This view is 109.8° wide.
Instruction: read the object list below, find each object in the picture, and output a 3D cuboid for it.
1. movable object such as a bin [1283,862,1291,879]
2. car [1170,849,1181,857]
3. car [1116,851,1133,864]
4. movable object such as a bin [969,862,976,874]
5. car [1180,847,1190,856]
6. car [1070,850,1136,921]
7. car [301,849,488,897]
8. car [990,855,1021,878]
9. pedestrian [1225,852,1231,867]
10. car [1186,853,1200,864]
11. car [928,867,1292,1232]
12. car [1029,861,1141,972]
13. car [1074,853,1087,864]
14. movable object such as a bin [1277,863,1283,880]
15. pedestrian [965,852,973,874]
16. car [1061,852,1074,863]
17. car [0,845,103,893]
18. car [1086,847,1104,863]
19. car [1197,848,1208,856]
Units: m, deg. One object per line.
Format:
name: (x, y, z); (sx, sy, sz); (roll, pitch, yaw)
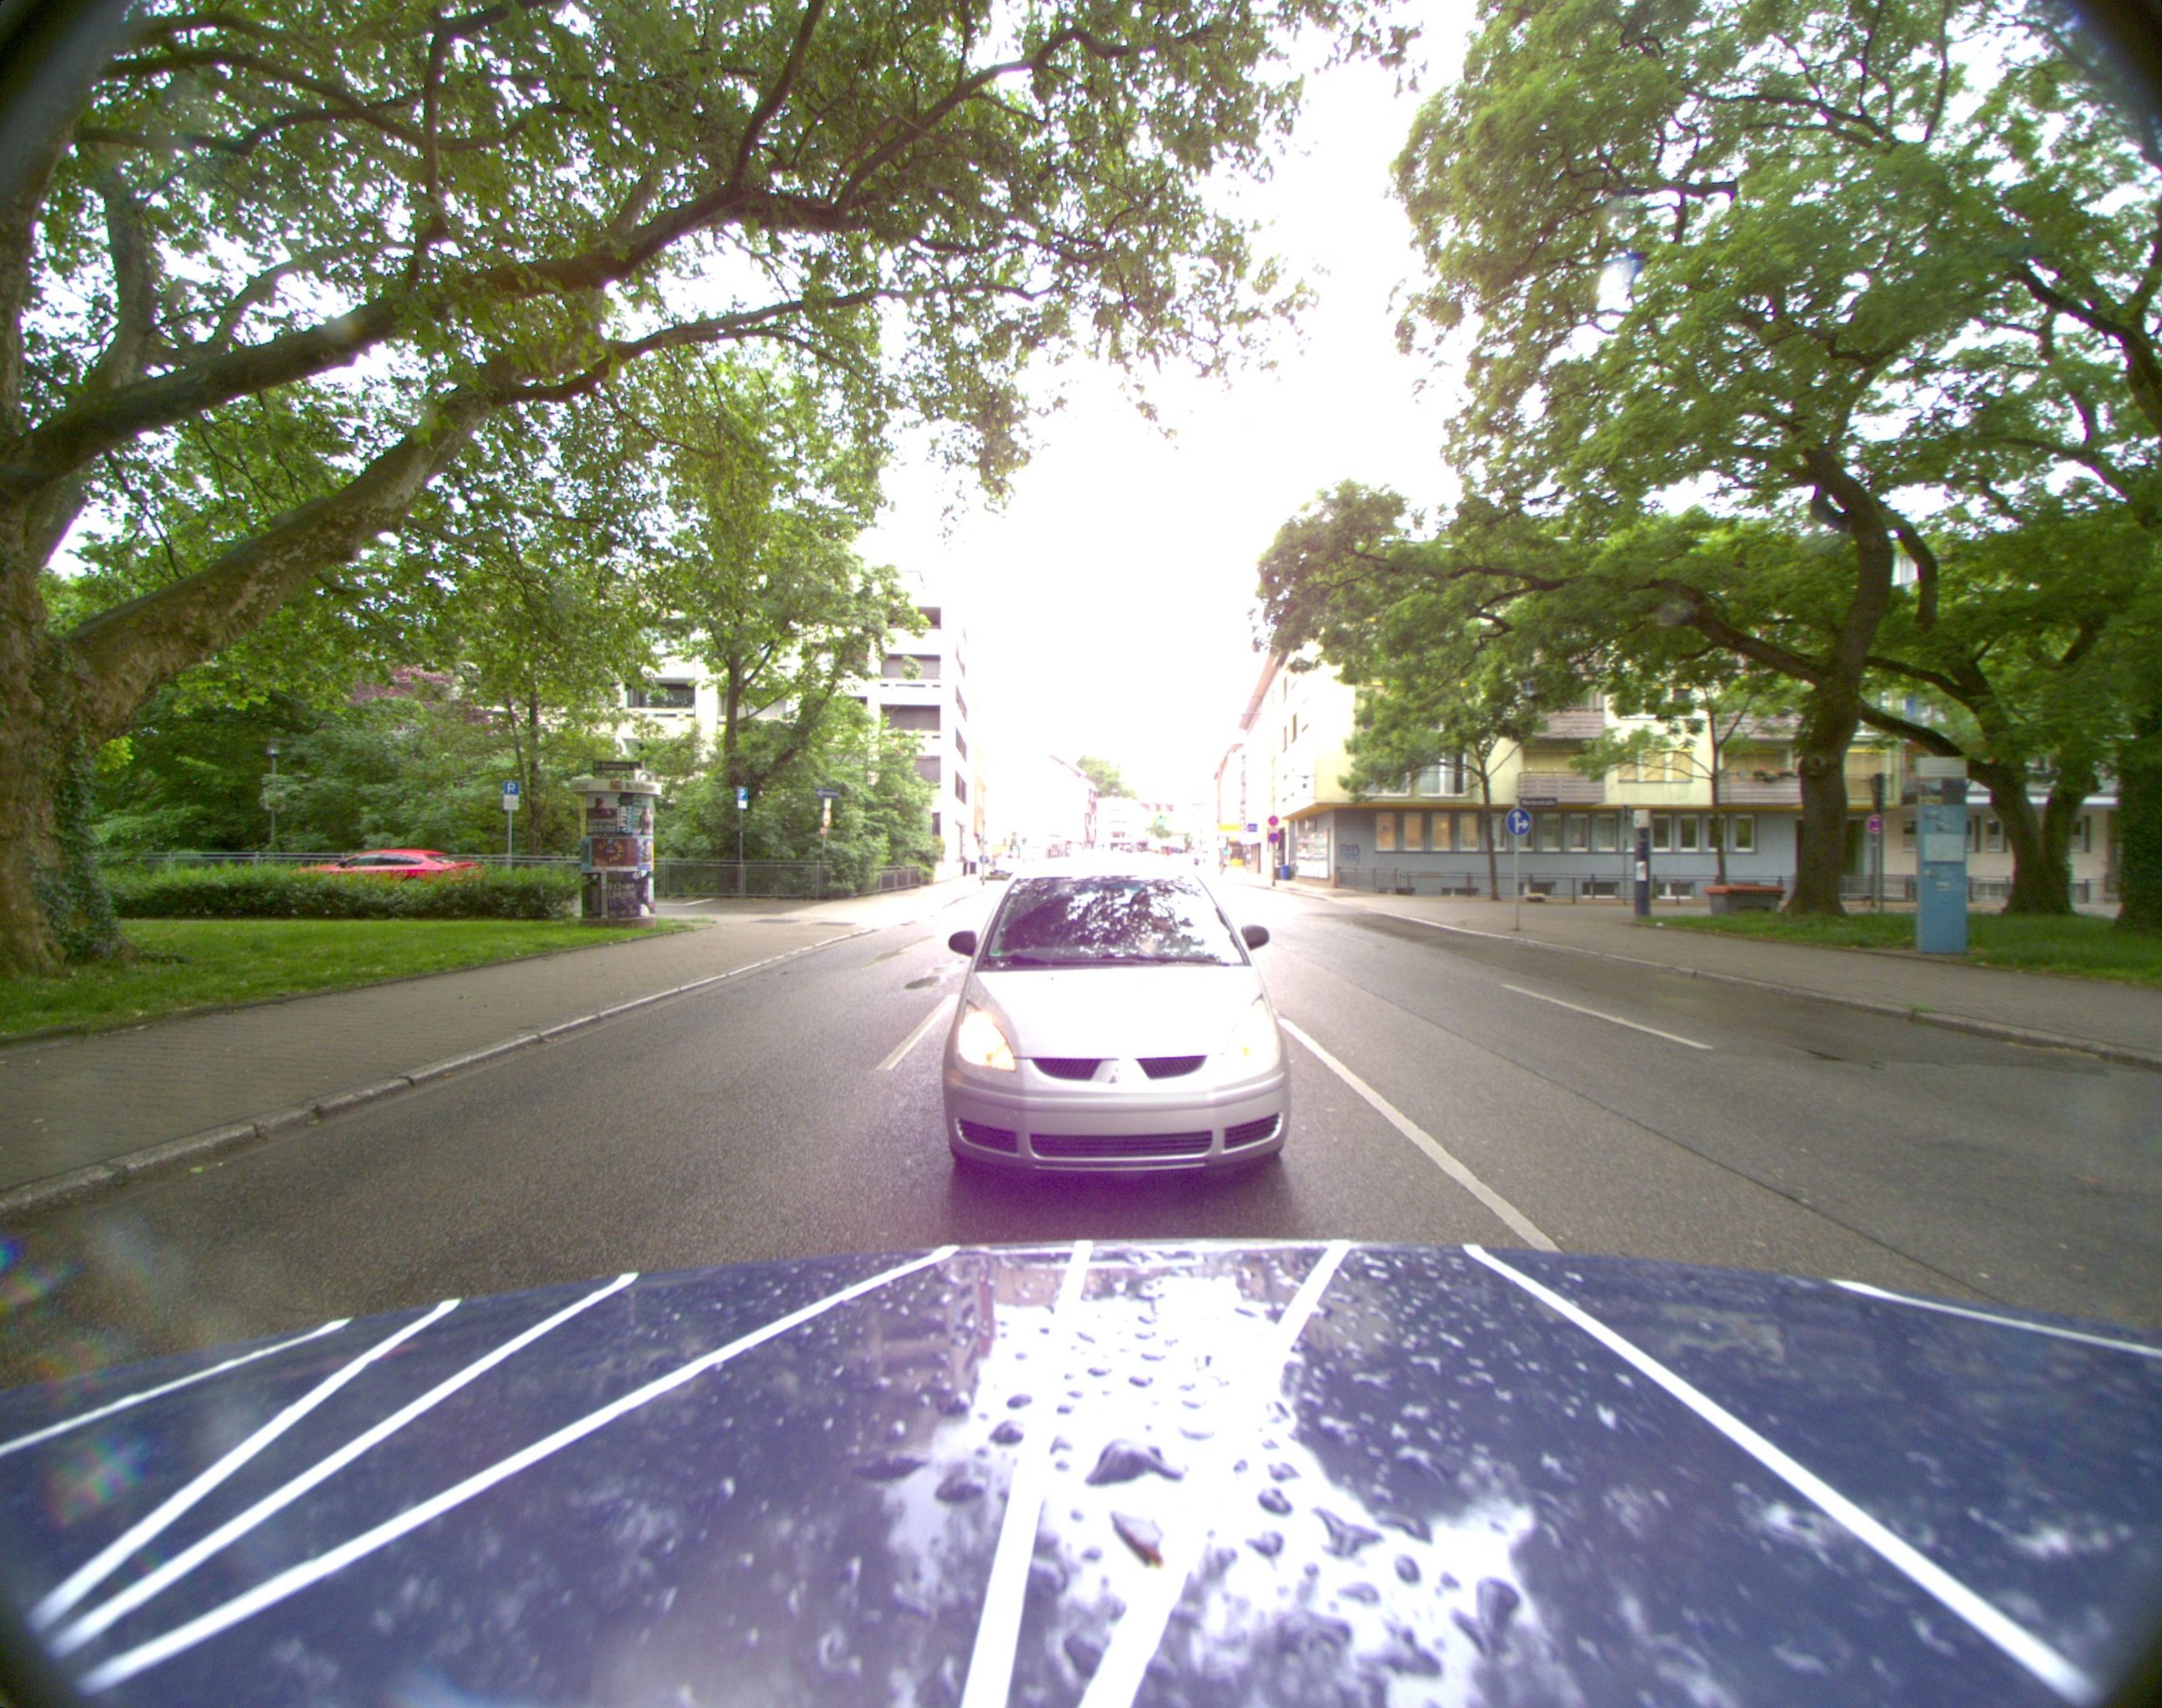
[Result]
movable object such as a bin: (13.079, 1.047, 48.235); (0.415, 1.023, 0.353); (1, 1, 8)
car: (20.154, -0.225, 162.068); (1.998, 1.631, 4.001); (1, 0, 4)
car: (4.948, 0.425, 86.998); (1.701, 1.433, 3.897); (1, 0, 1)
movable object such as a bin: (-8.990, 1.163, 62.950); (0.556, 1.035, 0.292); (1, 1, 0)
car: (22.902, -0.585, 167.335); (1.998, 1.841, 4.001); (1, 0, 4)
car: (0.529, 0.767, 20.260); (1.584, 1.705, 3.649); (1, 0, 0)
car: (-19.403, 0.521, 21.603); (3.790, 1.271, 1.576); (1, 1, -3)
car: (-5.311, 0.858, 53.524); (1.681, 1.424, 3.681); (3, 0, 1)
pedestrian: (17.690, 0.649, 91.404); (0.594, 1.833, 0.565); (1, 1, 8)
car: (17.939, 0.692, 121.418); (1.889, 1.707, 4.001); (1, 0, 4)
car: (0.155, 0.899, 4.983); (1.576, 1.514, 3.241); (-1, 0, 1)
car: (0.140, 0.922, 12.846); (1.590, 1.540, 3.771); (1, 0, 2)
car: (-0.116, 0.642, 111.019); (1.802, 1.433, 3.897); (1, 0, 1)
movable object such as a bin: (12.681, 1.112, 48.436); (0.338, 1.023, 0.353); (1, 1, 8)
pedestrian: (-8.039, 0.633, 54.580); (0.480, 1.521, 0.481); (-2, 1, 1)
car: (-1.834, 0.501, 106.200); (1.802, 1.433, 3.896); (1, 0, 0)
car: (-30.043, 0.387, 21.179); (3.468, 1.271, 1.448); (1, 1, -5)
car: (1.635, 0.085, 89.154); (1.935, 1.817, 3.999); (-2, 1, 0)
car: (26.570, -0.398, 166.348); (1.867, 1.648, 4.001); (1, 0, 4)
